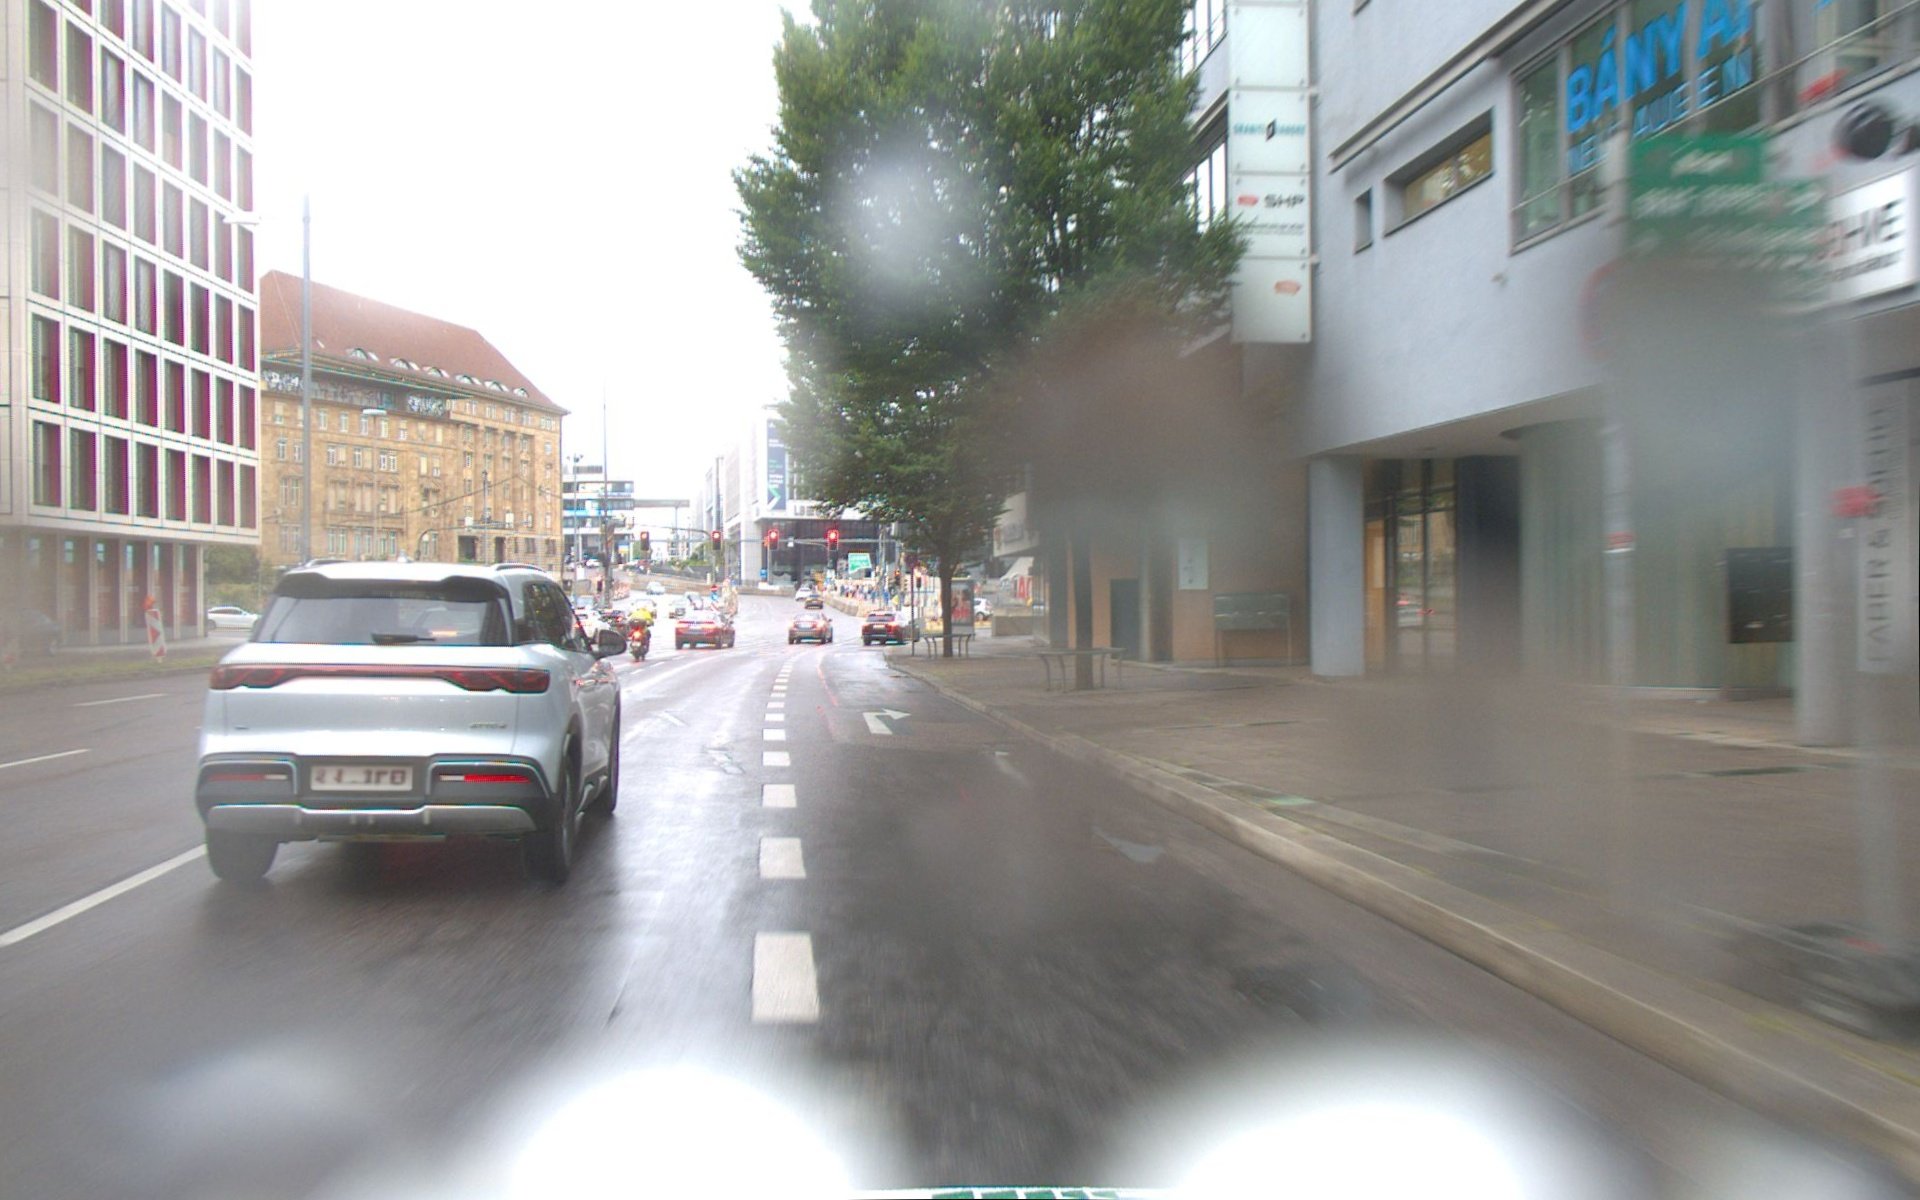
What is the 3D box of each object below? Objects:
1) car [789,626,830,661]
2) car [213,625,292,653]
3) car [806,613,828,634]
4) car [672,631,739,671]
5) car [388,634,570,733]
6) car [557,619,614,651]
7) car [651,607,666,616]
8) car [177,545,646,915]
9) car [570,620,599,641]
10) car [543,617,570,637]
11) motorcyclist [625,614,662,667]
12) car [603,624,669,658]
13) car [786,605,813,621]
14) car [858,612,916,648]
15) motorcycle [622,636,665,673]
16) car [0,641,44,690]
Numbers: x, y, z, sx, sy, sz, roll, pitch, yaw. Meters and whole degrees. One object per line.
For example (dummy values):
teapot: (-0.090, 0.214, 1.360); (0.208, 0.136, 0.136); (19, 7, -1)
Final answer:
car: (-7.113, 2.035, 78.471); (1.747, 1.427, 4.484); (0, 1, -3)
car: (-42.975, 2.378, 100.518); (4.319, 1.691, 1.987); (1, -1, -22)
car: (-14.282, 2.323, 164.921); (1.956, 2.049, 3.992); (1, -1, -9)
car: (-10.426, 2.062, 68.016); (1.848, 1.541, 5.003); (1, -1, 1)
car: (-7.611, 1.275, 26.599); (1.697, 1.428, 4.381); (1, -1, -1)
car: (-16.766, 1.551, 74.156); (1.747, 1.397, 3.991); (1, -1, -2)
car: (-42.354, 1.639, 232.388); (1.733, 1.282, 4.189); (1, -1, -5)
car: (-2.919, 0.634, 9.740); (1.773, 1.690, 4.164); (1, -1, -7)
car: (-29.446, 2.381, 129.720); (1.767, 1.601, 4.068); (1, -1, -7)
car: (-32.720, 2.166, 134.144); (1.665, 1.601, 3.993); (1, -1, -7)
motorcyclist: (-9.119, 1.159, 47.693); (0.923, 1.501, 1.099); (1, -1, -4)
car: (-15.806, 1.997, 80.868); (1.745, 1.628, 4.076); (0, -1, 10)
car: (-18.781, 1.561, 193.246); (1.968, 1.848, 3.968); (1, -1, -25)
car: (-3.271, 1.358, 74.836); (1.851, 1.571, 3.996); (0, -1, 9)
motorcycle: (-9.111, 1.567, 47.683); (0.923, 1.007, 2.292); (1, 0, -4)
car: (-30.781, 2.095, 52.316); (1.665, 1.449, 3.951); (-2, 0, -6)
